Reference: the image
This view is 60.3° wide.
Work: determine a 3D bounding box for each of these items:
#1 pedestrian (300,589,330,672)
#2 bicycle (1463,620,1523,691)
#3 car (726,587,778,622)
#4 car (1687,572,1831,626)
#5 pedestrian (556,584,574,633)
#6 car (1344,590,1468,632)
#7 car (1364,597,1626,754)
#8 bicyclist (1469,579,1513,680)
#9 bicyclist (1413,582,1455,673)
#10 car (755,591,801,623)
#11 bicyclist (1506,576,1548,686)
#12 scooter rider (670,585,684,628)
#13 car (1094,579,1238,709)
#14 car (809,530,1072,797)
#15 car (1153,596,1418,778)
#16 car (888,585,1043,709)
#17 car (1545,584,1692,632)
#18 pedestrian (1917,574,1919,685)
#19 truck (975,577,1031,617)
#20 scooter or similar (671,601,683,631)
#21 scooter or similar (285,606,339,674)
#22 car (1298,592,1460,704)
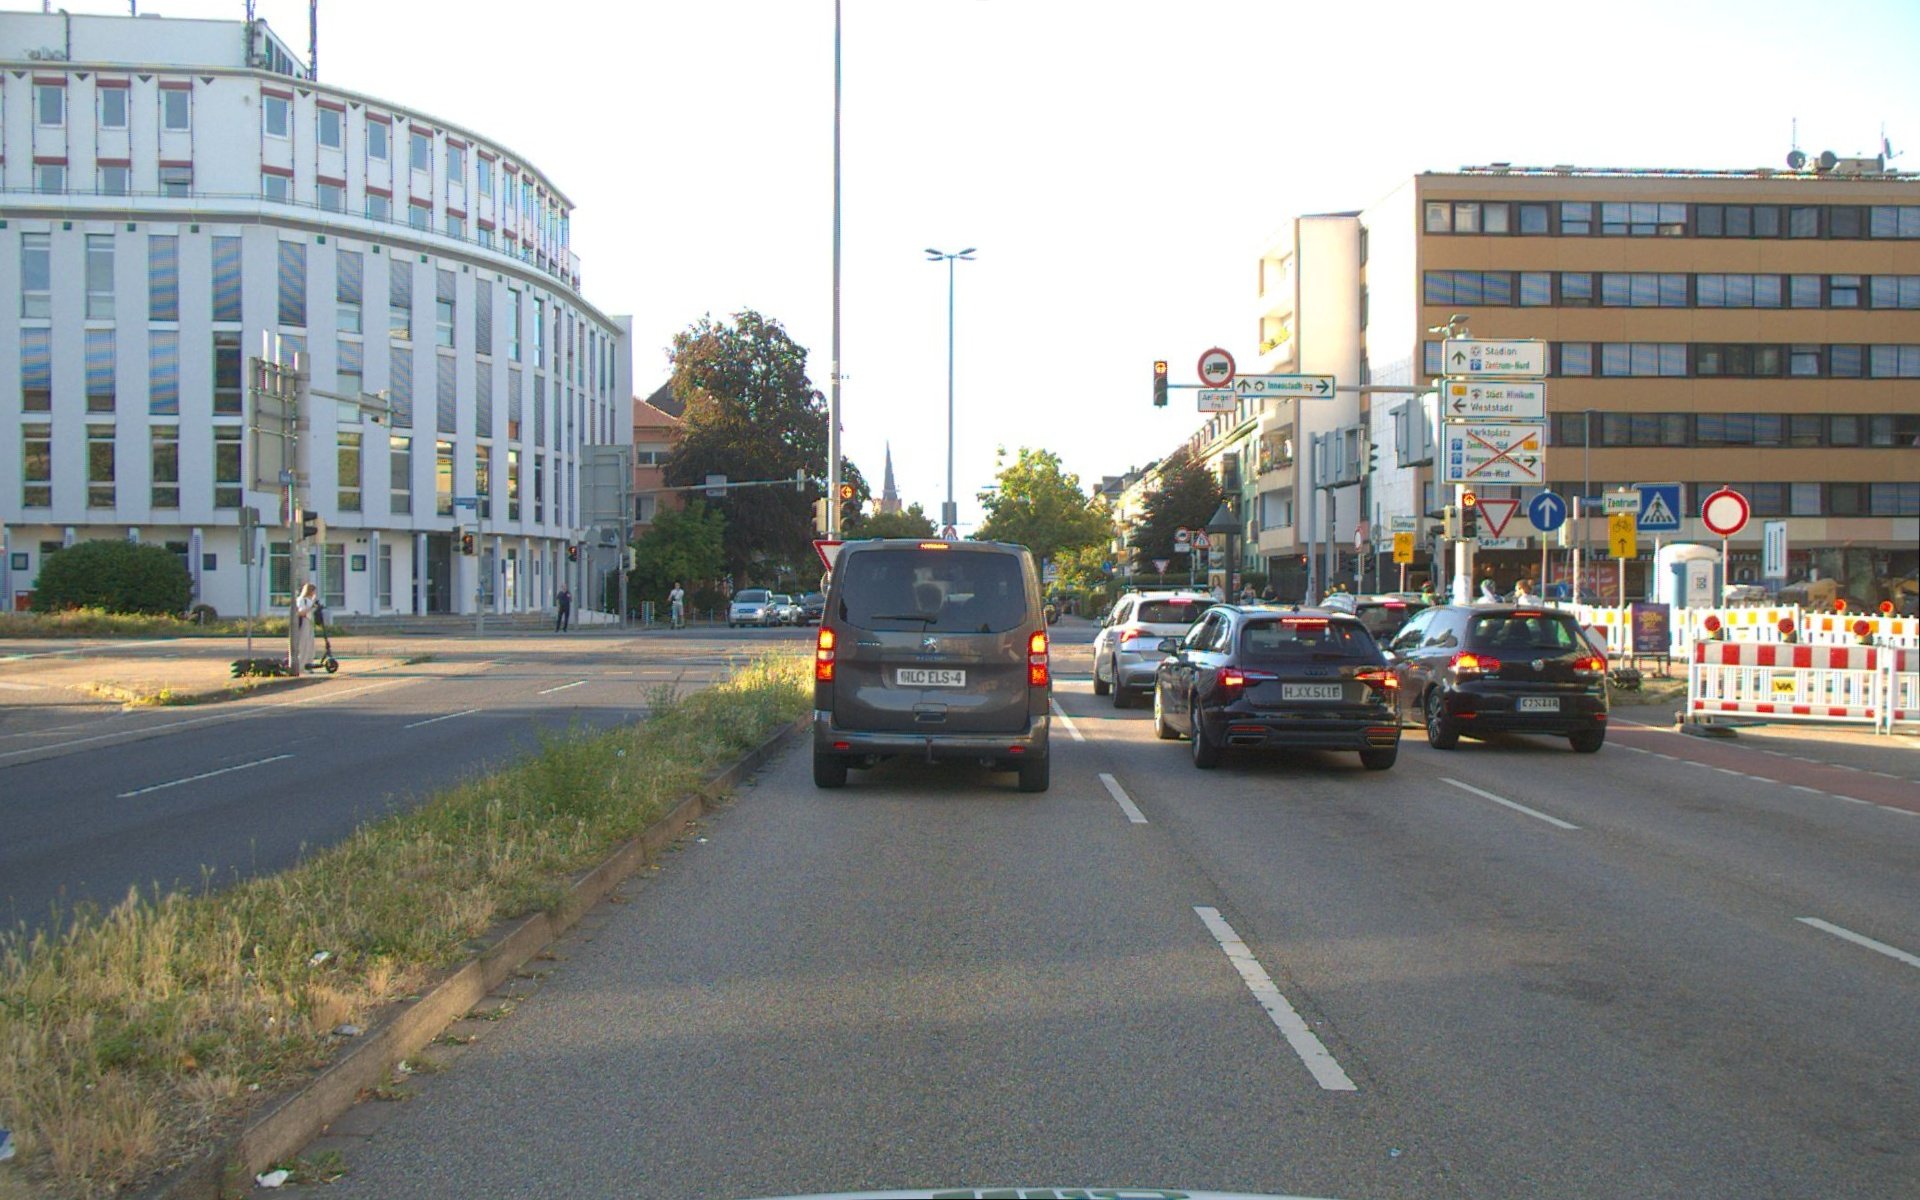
[{"bbox_3d":[-12.045,0.561,30.898,0.466,1.532,0.334,0,0,-12],"label":"pedestrian"},{"bbox_3d":[8.228,0.840,25.582,0.329,1.025,1.856,0,0,0],"label":"bicycle"},{"bbox_3d":[-8.860,0.163,70.660,1.818,1.445,3.999,0,0,-2],"label":"car"},{"bbox_3d":[28.101,-0.044,58.252,4.129,1.849,2.000,0,0,0],"label":"car"},{"bbox_3d":[-14.175,0.302,59.414,0.615,1.752,0.669,0,0,-14],"label":"pedestrian"},{"bbox_3d":[15.817,0.388,58.748,3.911,1.445,1.785,0,0,-7],"label":"car"},{"bbox_3d":[5.685,0.738,18.039,1.600,1.474,3.745,1,0,0],"label":"car"},{"bbox_3d":[8.233,0.448,25.664,0.432,1.552,0.725,0,0,0],"label":"bicyclist"},{"bbox_3d":[8.189,0.459,28.599,0.503,1.552,0.725,0,0,-1],"label":"bicyclist"},{"bbox_3d":[-8.393,0.307,76.480,1.818,1.445,3.999,0,0,-2],"label":"car"},{"bbox_3d":[8.051,0.434,23.505,0.432,1.552,0.482,0,0,-1],"label":"bicyclist"},{"bbox_3d":[-11.408,0.254,66.675,0.471,1.727,0.636,0,0,-1],"label":"scooter rider"},{"bbox_3d":[2.815,0.557,23.245,1.497,1.641,3.745,1,0,0],"label":"car"},{"bbox_3d":[-0.151,0.446,14.269,1.868,1.896,4.526,1,0,0],"label":"car"},{"bbox_3d":[2.924,0.713,15.718,1.647,1.446,4.213,1,0,0],"label":"car"},{"bbox_3d":[0.057,0.573,22.785,1.953,1.557,4.000,0,0,0],"label":"car"},{"bbox_3d":[21.898,0.248,55.072,4.259,1.576,1.784,0,0,-10],"label":"car"},{"bbox_3d":[16.481,0.496,27.874,0.567,1.866,0.479,0,0,-44],"label":"pedestrian"},{"bbox_3d":[2.290,-0.177,88.757,2.089,2.123,4.620,0,0,-10],"label":"truck"},{"bbox_3d":[-11.381,0.643,66.622,0.279,1.209,1.169,0,0,0],"label":"scooter or similar"},{"bbox_3d":[-12.023,0.738,30.714,0.877,1.255,0.370,0,0,-12],"label":"scooter or similar"},{"bbox_3d":[5.909,0.631,23.643,1.474,1.474,3.305,0,0,0],"label":"car"}]
